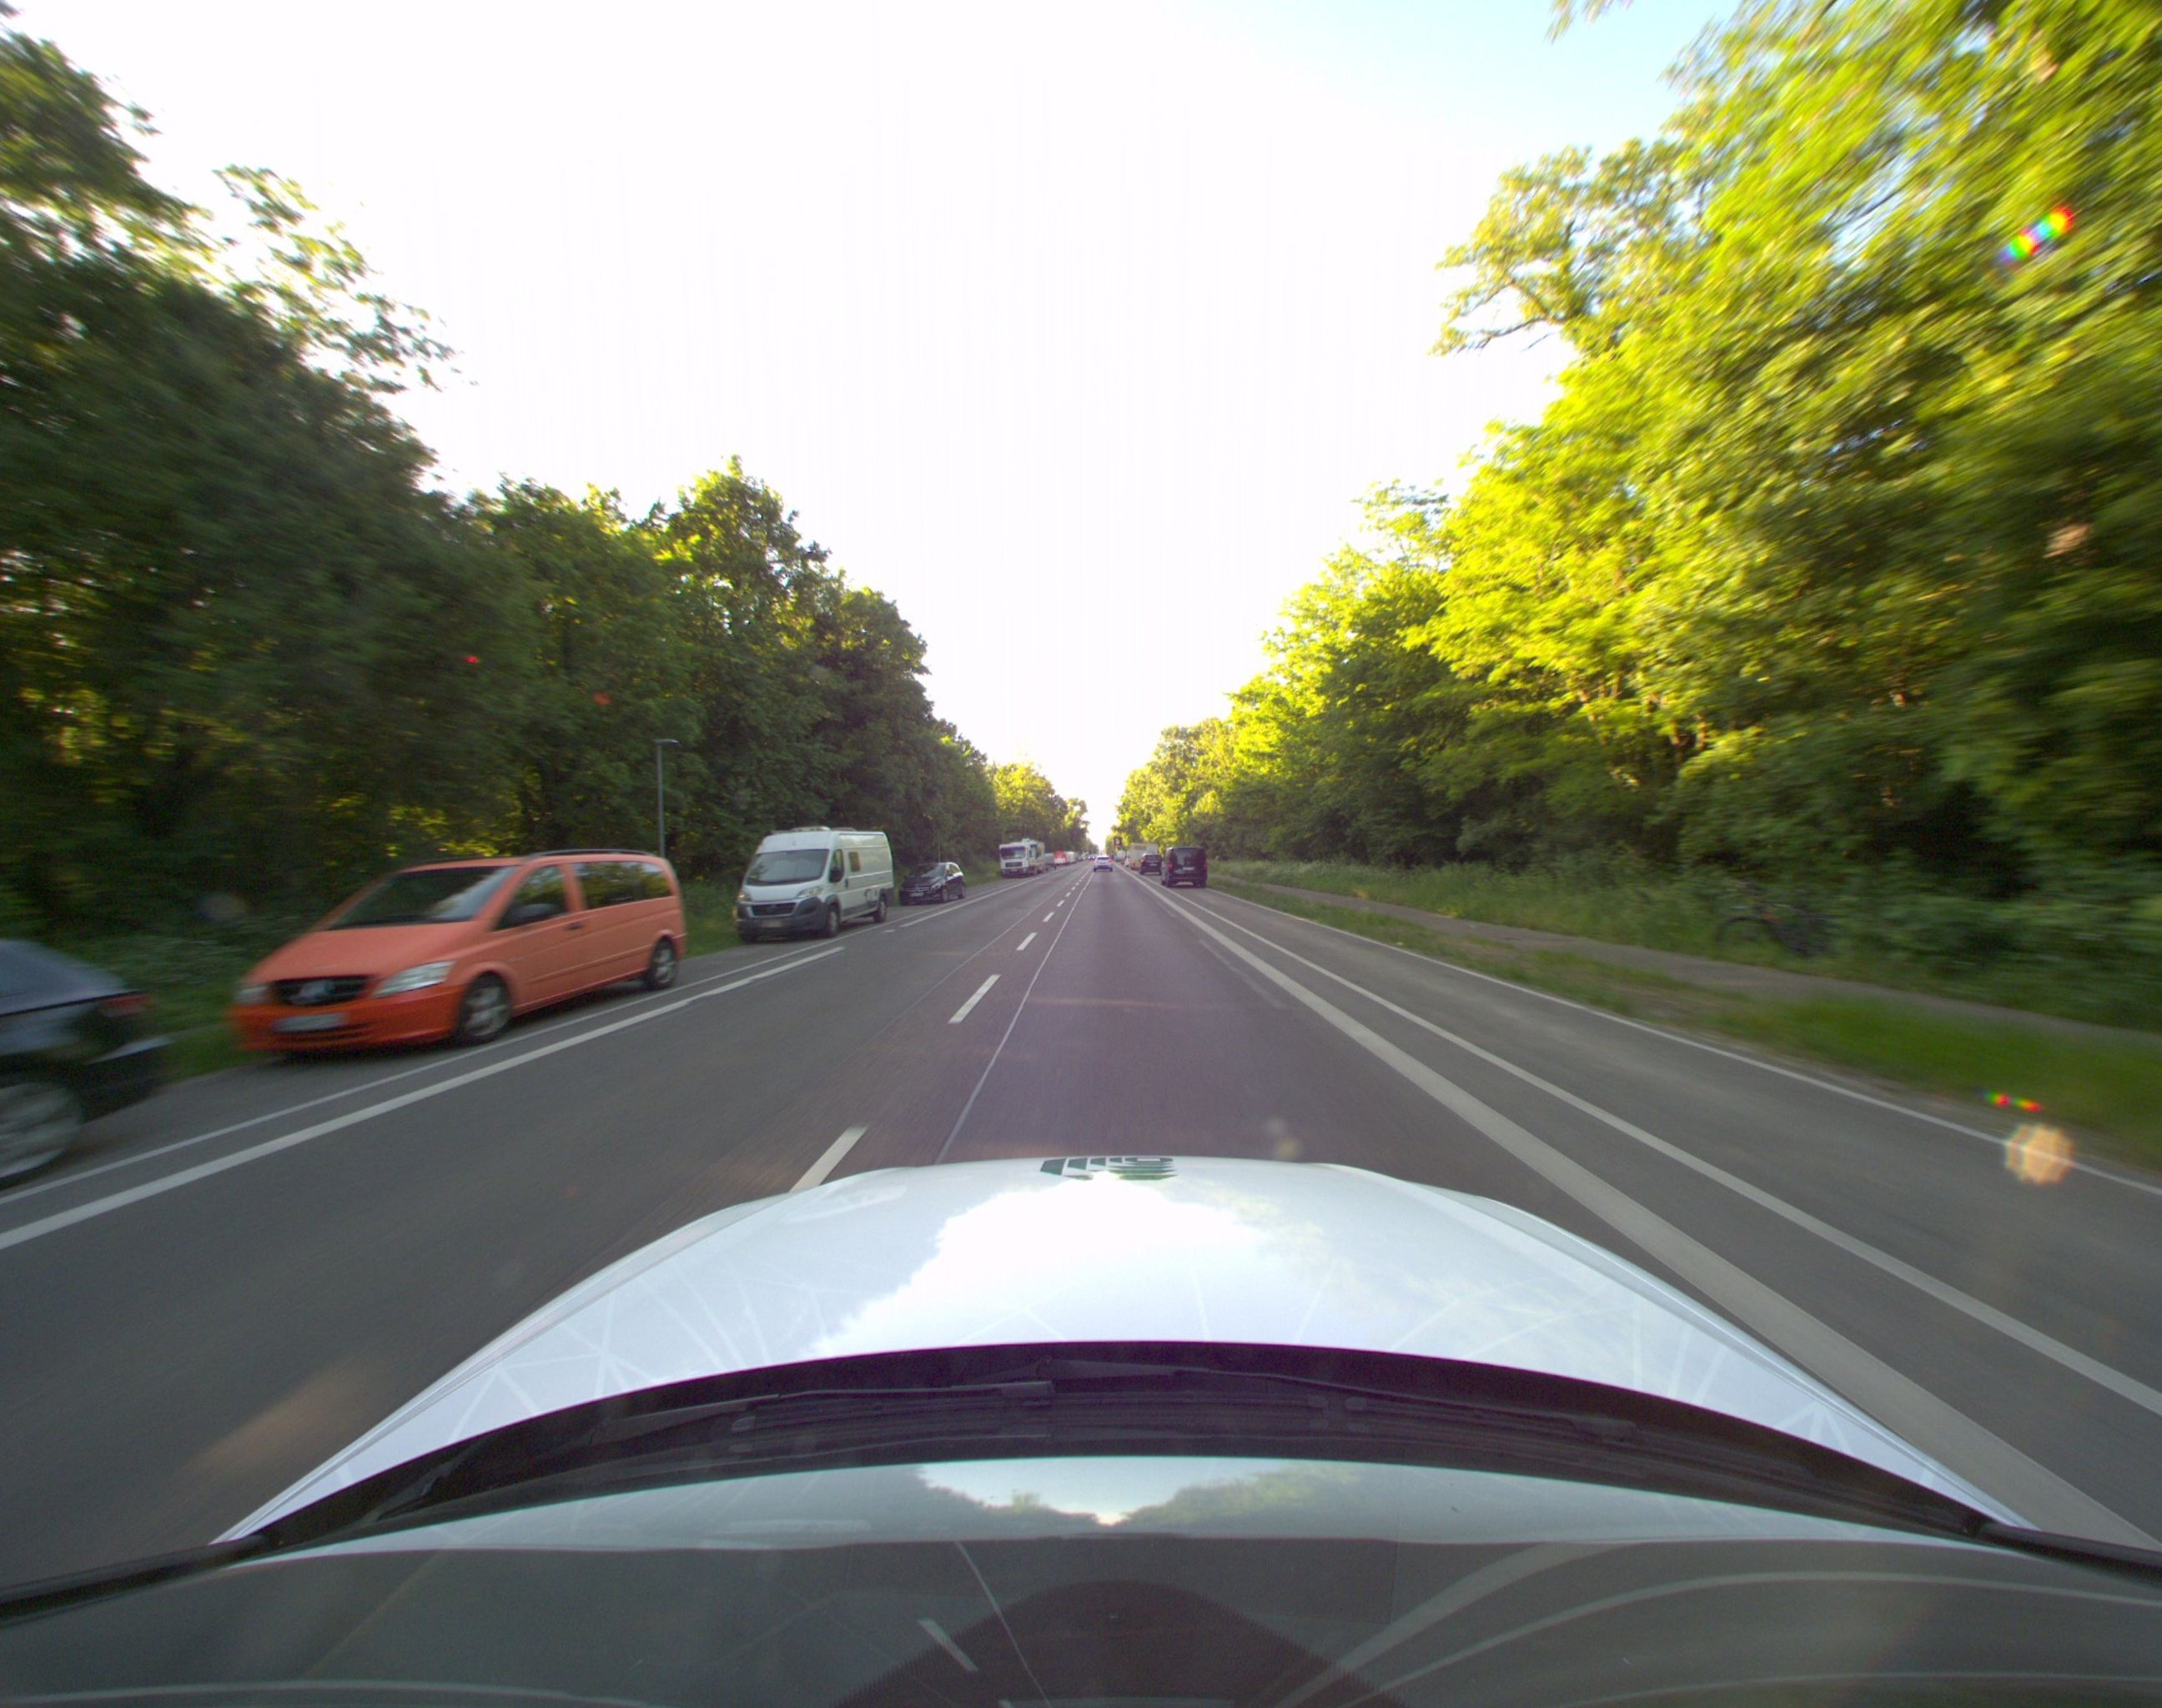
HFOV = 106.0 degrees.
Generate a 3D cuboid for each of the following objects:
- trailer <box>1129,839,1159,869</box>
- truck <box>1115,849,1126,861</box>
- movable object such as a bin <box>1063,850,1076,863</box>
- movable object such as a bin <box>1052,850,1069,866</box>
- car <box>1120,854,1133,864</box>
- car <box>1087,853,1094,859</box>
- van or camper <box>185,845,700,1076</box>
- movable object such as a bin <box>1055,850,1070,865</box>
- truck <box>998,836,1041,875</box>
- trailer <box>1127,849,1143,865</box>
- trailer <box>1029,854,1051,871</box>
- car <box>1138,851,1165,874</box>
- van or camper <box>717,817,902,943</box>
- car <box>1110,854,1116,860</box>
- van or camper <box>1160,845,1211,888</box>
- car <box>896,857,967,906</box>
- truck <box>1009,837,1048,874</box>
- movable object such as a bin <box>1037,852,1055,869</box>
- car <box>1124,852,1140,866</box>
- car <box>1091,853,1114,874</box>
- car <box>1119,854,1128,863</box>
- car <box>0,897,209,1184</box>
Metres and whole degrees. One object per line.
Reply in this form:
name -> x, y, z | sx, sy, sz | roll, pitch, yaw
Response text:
trailer -> 6.517, 0.003, 84.659 | 2.747, 2.870, 6.591 | -2, 0, 2
truck -> 8.549, 0.221, 175.502 | 2.089, 2.452, 5.682 | -2, 0, 2
movable object such as a bin -> -2.365, 0.556, 165.029 | 2.313, 2.501, 4.001 | -2, 0, 1
movable object such as a bin -> -3.224, 0.616, 128.168 | 2.313, 2.501, 4.001 | -2, 0, 1
car -> 6.722, 0.705, 120.672 | 1.650, 1.478, 3.755 | -2, 0, 2
car -> 2.834, 0.717, 251.834 | 1.986, 1.677, 4.001 | -3, 0, 1
van or camper -> -6.625, 0.913, 9.424 | 1.915, 1.867, 4.865 | -3, 0, 2
movable object such as a bin -> -3.235, 0.671, 142.386 | 2.313, 2.501, 4.001 | -2, 0, 1
truck -> -5.080, 0.122, 69.070 | 2.697, 3.093, 7.992 | -1, 0, 2
trailer -> 7.080, 0.380, 107.342 | 1.986, 1.969, 4.001 | -2, 0, 1
trailer -> -4.502, 0.941, 90.393 | 1.986, 1.750, 4.329 | -2, 0, 1
car -> 5.396, 0.622, 62.619 | 1.834, 1.662, 4.002 | -1, 0, 2
van or camper -> -6.418, 0.543, 20.347 | 2.113, 2.572, 6.545 | -2, 0, 2
car -> 9.027, 0.837, 228.574 | 1.650, 1.478, 3.755 | -2, 0, 2
van or camper -> 5.039, 0.560, 39.853 | 1.986, 1.932, 5.201 | -1, 0, 2
car -> -5.833, 1.029, 32.323 | 1.774, 1.684, 4.380 | -3, 0, 2
truck -> -5.008, 0.159, 80.126 | 2.697, 3.347, 10.928 | -1, 0, 2
movable object such as a bin -> -4.409, 0.790, 103.856 | 1.946, 2.013, 4.001 | -2, 0, 1
car -> 6.310, 0.569, 100.669 | 1.726, 1.684, 4.001 | -2, 0, 2
car -> 2.099, 0.889, 78.873 | 2.021, 1.840, 4.031 | -2, 0, 2
car -> 7.949, 0.856, 151.830 | 1.650, 1.478, 3.755 | -2, 0, 2
car -> -6.693, 1.074, 3.193 | 1.725, 1.478, 4.326 | -3, 0, 2
